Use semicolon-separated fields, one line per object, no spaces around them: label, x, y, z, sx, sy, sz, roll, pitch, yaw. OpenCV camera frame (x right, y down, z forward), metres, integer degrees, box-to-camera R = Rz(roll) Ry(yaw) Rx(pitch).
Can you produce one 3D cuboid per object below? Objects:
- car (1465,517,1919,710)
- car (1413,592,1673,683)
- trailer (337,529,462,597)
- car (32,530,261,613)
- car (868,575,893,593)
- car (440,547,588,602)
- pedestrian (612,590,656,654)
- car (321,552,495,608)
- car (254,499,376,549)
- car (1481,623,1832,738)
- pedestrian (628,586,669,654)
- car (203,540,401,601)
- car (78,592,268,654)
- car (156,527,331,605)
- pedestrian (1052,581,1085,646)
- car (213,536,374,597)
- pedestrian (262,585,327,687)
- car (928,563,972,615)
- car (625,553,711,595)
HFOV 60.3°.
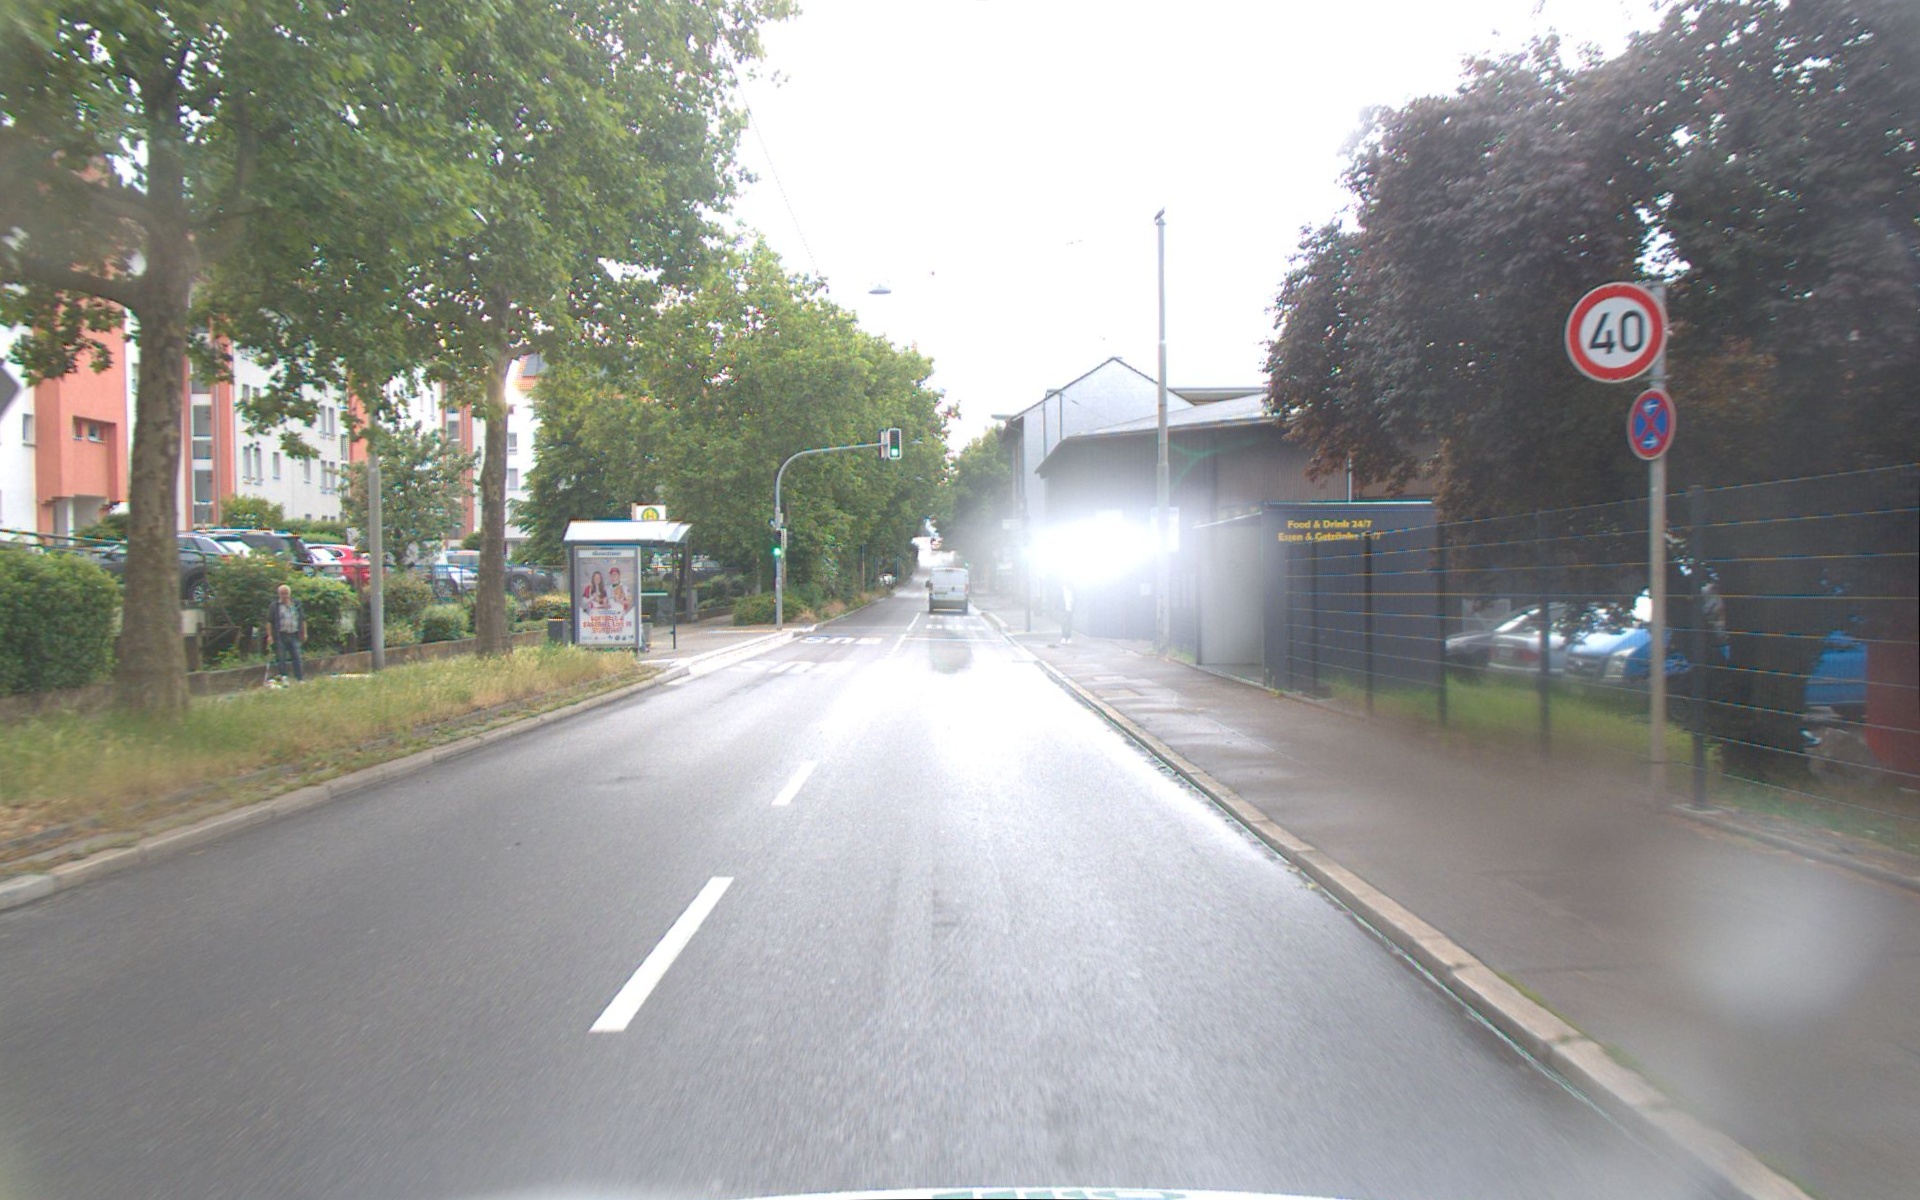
car;9.438;0.166;20.950;5.455;2.249;1.999;1;0;-3
car;10.084;0.647;28.805;3.905;1.448;1.784;1;-1;0
trailer;-14.332;-0.931;42.356;2.649;1.674;1.480;1;0;0
car;-16.119;-0.539;32.929;3.581;1.524;1.896;1;-1;-5
car;-7.934;-1.627;165.095;2.170;1.620;4.610;1;-1;2
car;-15.122;-0.858;56.270;4.453;1.701;1.999;1;-1;-2
pedestrian;-6.994;0.479;35.499;0.759;1.340;0.641;-2;-1;3
car;-15.533;-0.557;46.705;4.267;1.449;1.859;1;-1;-1
car;-23.468;-2.761;60.291;3.733;1.630;1.717;1;-1;-3
car;9.934;1.124;23.789;4.291;1.558;1.793;0;-1;-3
pedestrian;-6.837;0.448;36.327;0.673;1.443;0.641;-3;-1;3
car;-15.836;-0.694;39.936;4.005;1.325;1.809;1;-1;-1
car;-19.437;0.569;40.941;3.888;1.429;1.589;1;-1;-1
car;-15.356;-0.715;35.543;3.066;1.570;1.436;1;-1;-1
pedestrian;2.935;0.357;44.997;0.728;1.734;0.900;1;-1;-6
car;-15.302;-0.760;38.063;3.066;1.292;1.436;1;-1;-1
pedestrian;-10.964;0.588;27.277;0.740;1.639;0.834;1;-1;-5
car;-0.524;-0.536;85.320;2.236;2.597;3.999;0;-1;0
car;-14.815;-1.324;84.106;4.085;2.049;1.718;1;0;-3
